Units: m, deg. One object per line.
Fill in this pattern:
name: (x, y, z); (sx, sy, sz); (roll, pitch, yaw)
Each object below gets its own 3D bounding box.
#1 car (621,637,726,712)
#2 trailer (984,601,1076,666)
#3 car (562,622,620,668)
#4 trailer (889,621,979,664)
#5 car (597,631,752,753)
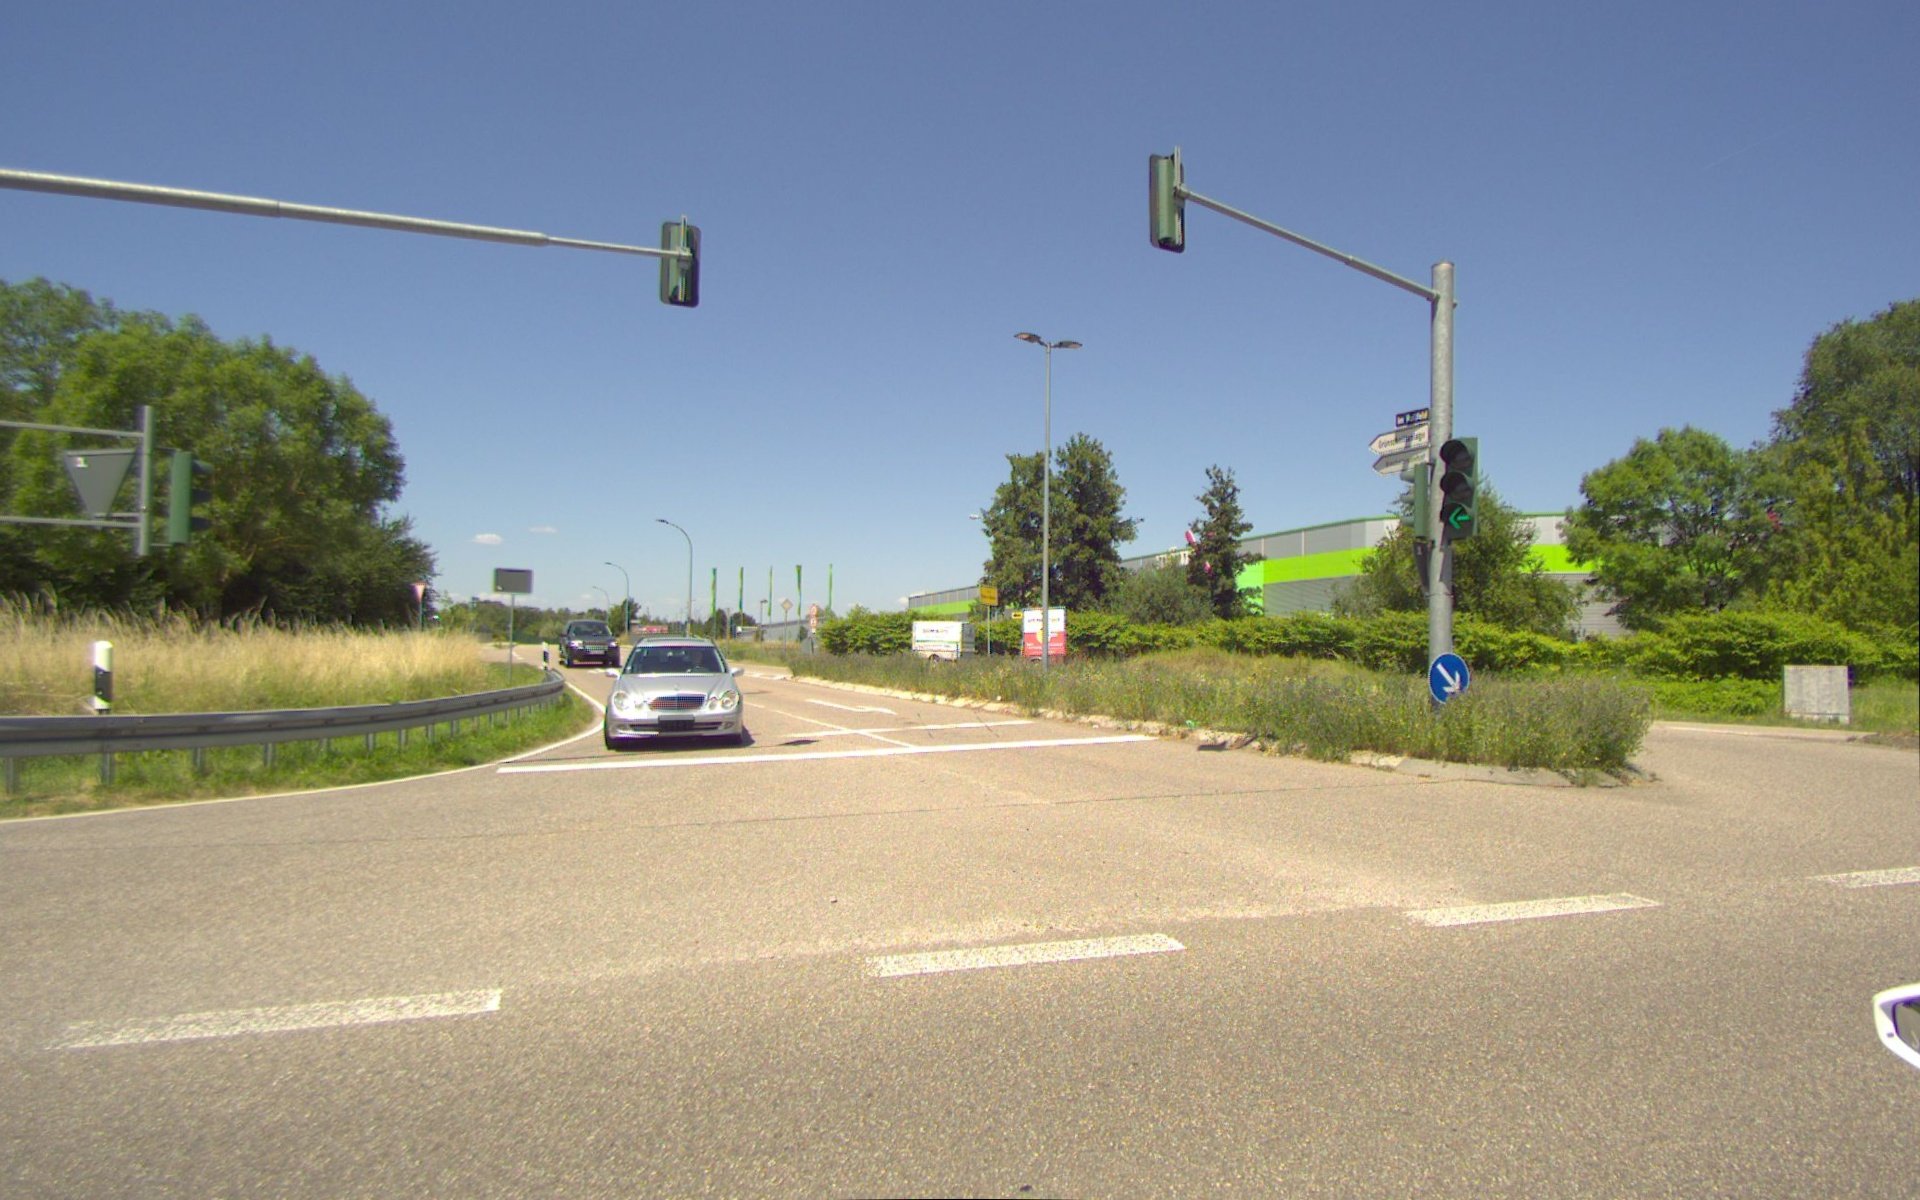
car: (-6.308, 1.536, 21.851); (1.746, 1.417, 3.942); (1, -2, -23)
trailer: (3.173, 1.499, 45.587); (3.689, 2.801, 1.825); (0, -2, 27)
car: (-14.058, 1.661, 38.109); (1.747, 1.646, 4.209); (1, -2, -25)
trailer: (-1.207, 1.932, 46.171); (3.689, 1.814, 1.824); (0, -2, 28)
car: (-4.287, 1.245, 15.115); (1.847, 1.476, 4.954); (2, -2, -16)
